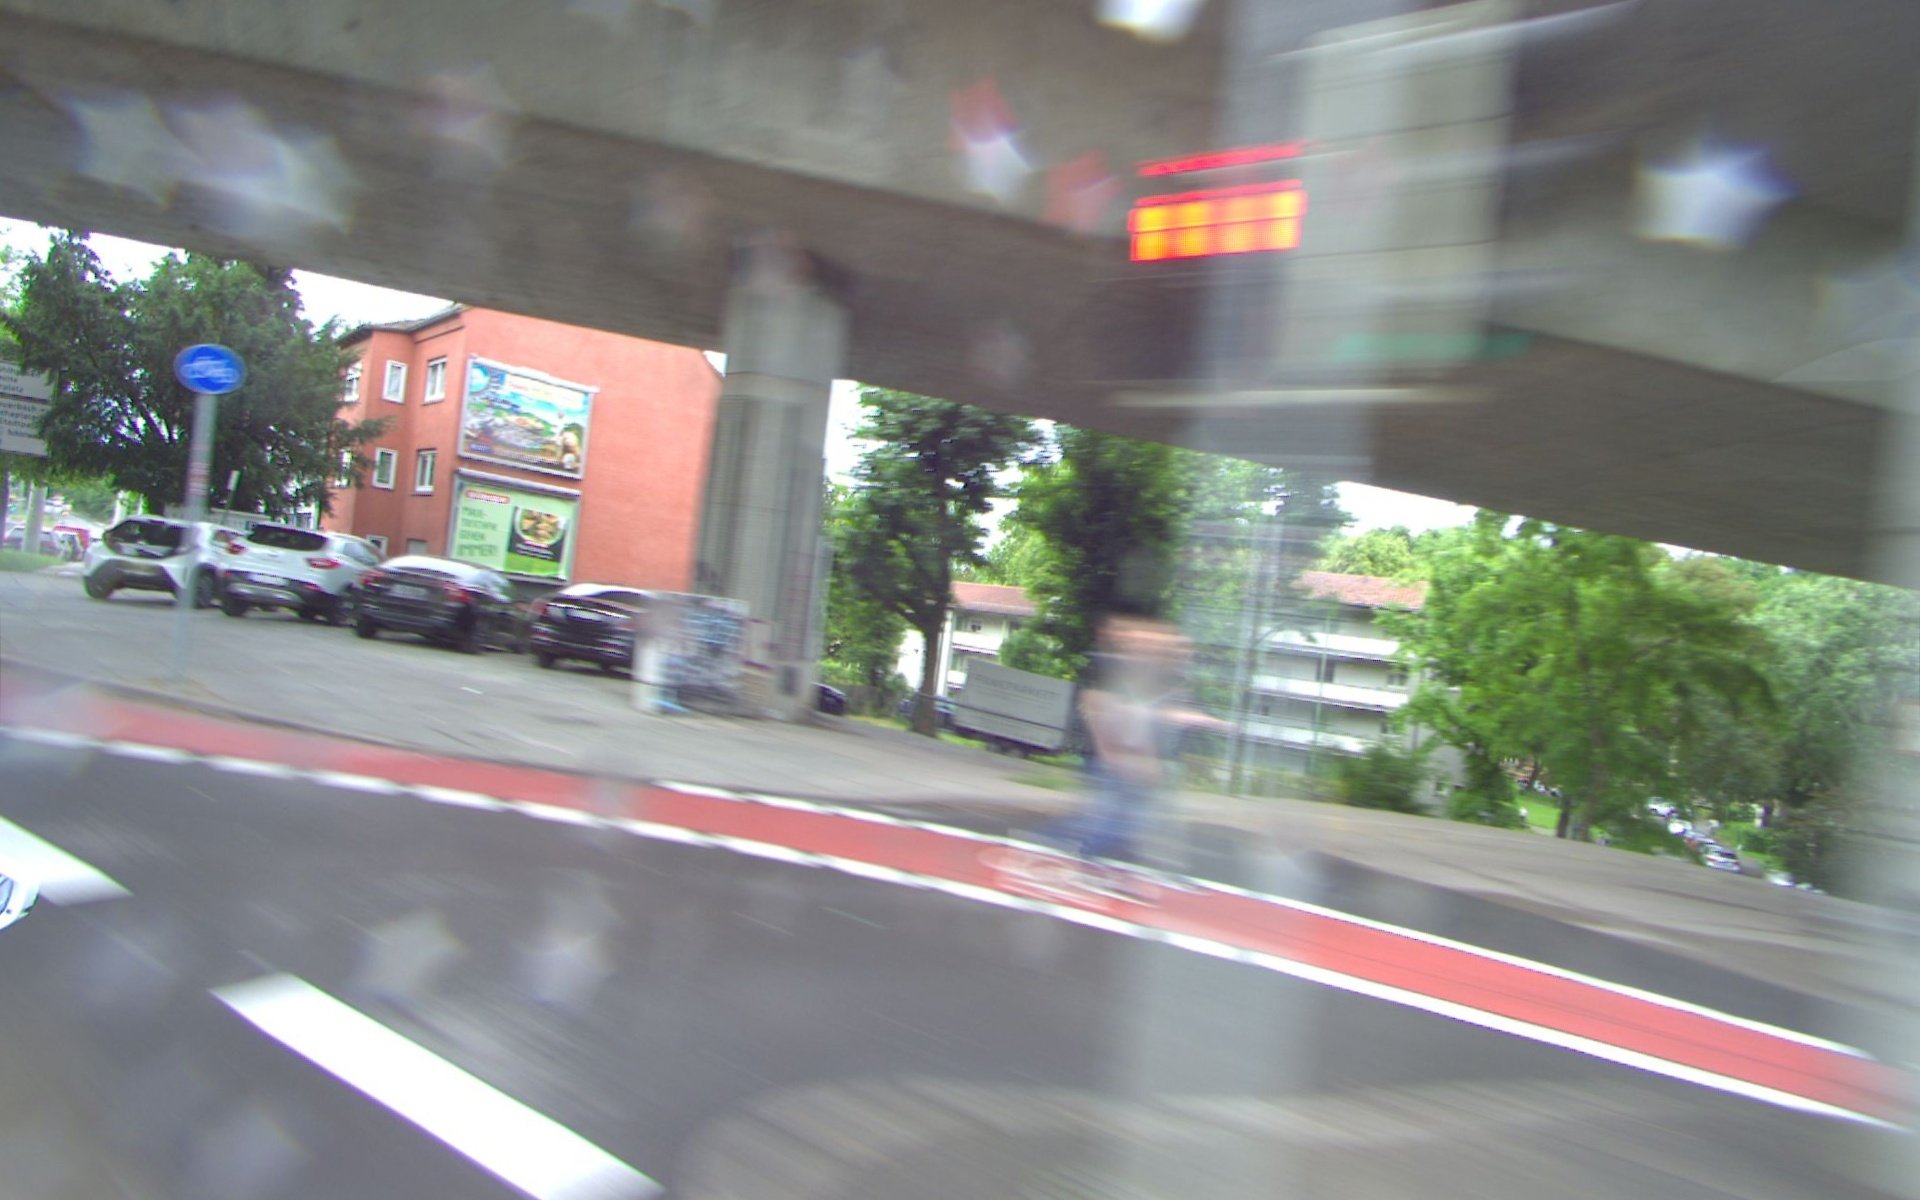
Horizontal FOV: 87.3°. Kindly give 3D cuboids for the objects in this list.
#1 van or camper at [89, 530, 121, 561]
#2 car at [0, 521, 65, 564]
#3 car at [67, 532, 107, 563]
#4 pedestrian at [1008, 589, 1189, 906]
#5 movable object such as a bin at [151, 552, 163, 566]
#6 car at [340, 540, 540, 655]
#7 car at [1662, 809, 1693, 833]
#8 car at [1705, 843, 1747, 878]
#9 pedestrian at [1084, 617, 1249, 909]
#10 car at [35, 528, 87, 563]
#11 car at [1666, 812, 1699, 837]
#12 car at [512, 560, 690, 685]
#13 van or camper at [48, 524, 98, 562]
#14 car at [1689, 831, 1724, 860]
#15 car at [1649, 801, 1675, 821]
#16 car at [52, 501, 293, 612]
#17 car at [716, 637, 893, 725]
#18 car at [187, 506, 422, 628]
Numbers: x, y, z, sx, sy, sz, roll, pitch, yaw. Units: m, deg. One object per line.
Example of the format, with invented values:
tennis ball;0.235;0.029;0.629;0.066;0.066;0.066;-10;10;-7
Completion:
van or camper;-81.882;-5.247;96.434;1.987;2.592;5.976;10;-3;-40
car;-38.926;-2.374;42.208;1.670;1.438;4.519;9;-4;-38
car;-62.019;-3.705;71.528;1.834;1.819;4.636;11;-4;-40
pedestrian;0.908;0.909;6.472;0.820;1.828;0.628;6;-3;23
movable object such as a bin;-54.642;-2.789;68.458;0.584;0.890;0.443;7;-2;-41
car;-8.503;-0.005;16.868;1.758;1.456;4.044;8;-2;-11
car;64.962;20.001;91.106;1.858;1.467;4.153;7;-3;32
car;47.940;16.298;63.024;1.711;1.429;3.554;7;-3;33
pedestrian;1.470;1.113;7.105;0.892;1.842;0.600;7;-3;15
car;-45.418;-2.723;50.864;1.570;1.468;3.684;7;-3;-38
car;62.262;19.345;86.796;1.858;1.467;4.153;7;-3;32
car;-5.777;0.432;16.723;1.873;1.588;3.999;8;-4;-9
van or camper;-52.175;-3.323;59.224;1.843;1.942;4.942;7;-2;-39
car;54.279;17.848;73.173;1.711;1.429;3.554;7;-3;33
car;74.510;22.348;106.835;1.858;1.467;4.153;7;-3;32
car;-13.946;-0.679;18.131;1.773;1.539;3.730;8;-2;-11
car;-3.960;2.127;26.003;1.975;1.612;3.983;6;-5;45
car;-11.298;-0.473;17.717;1.935;1.649;4.018;8;-2;-11
